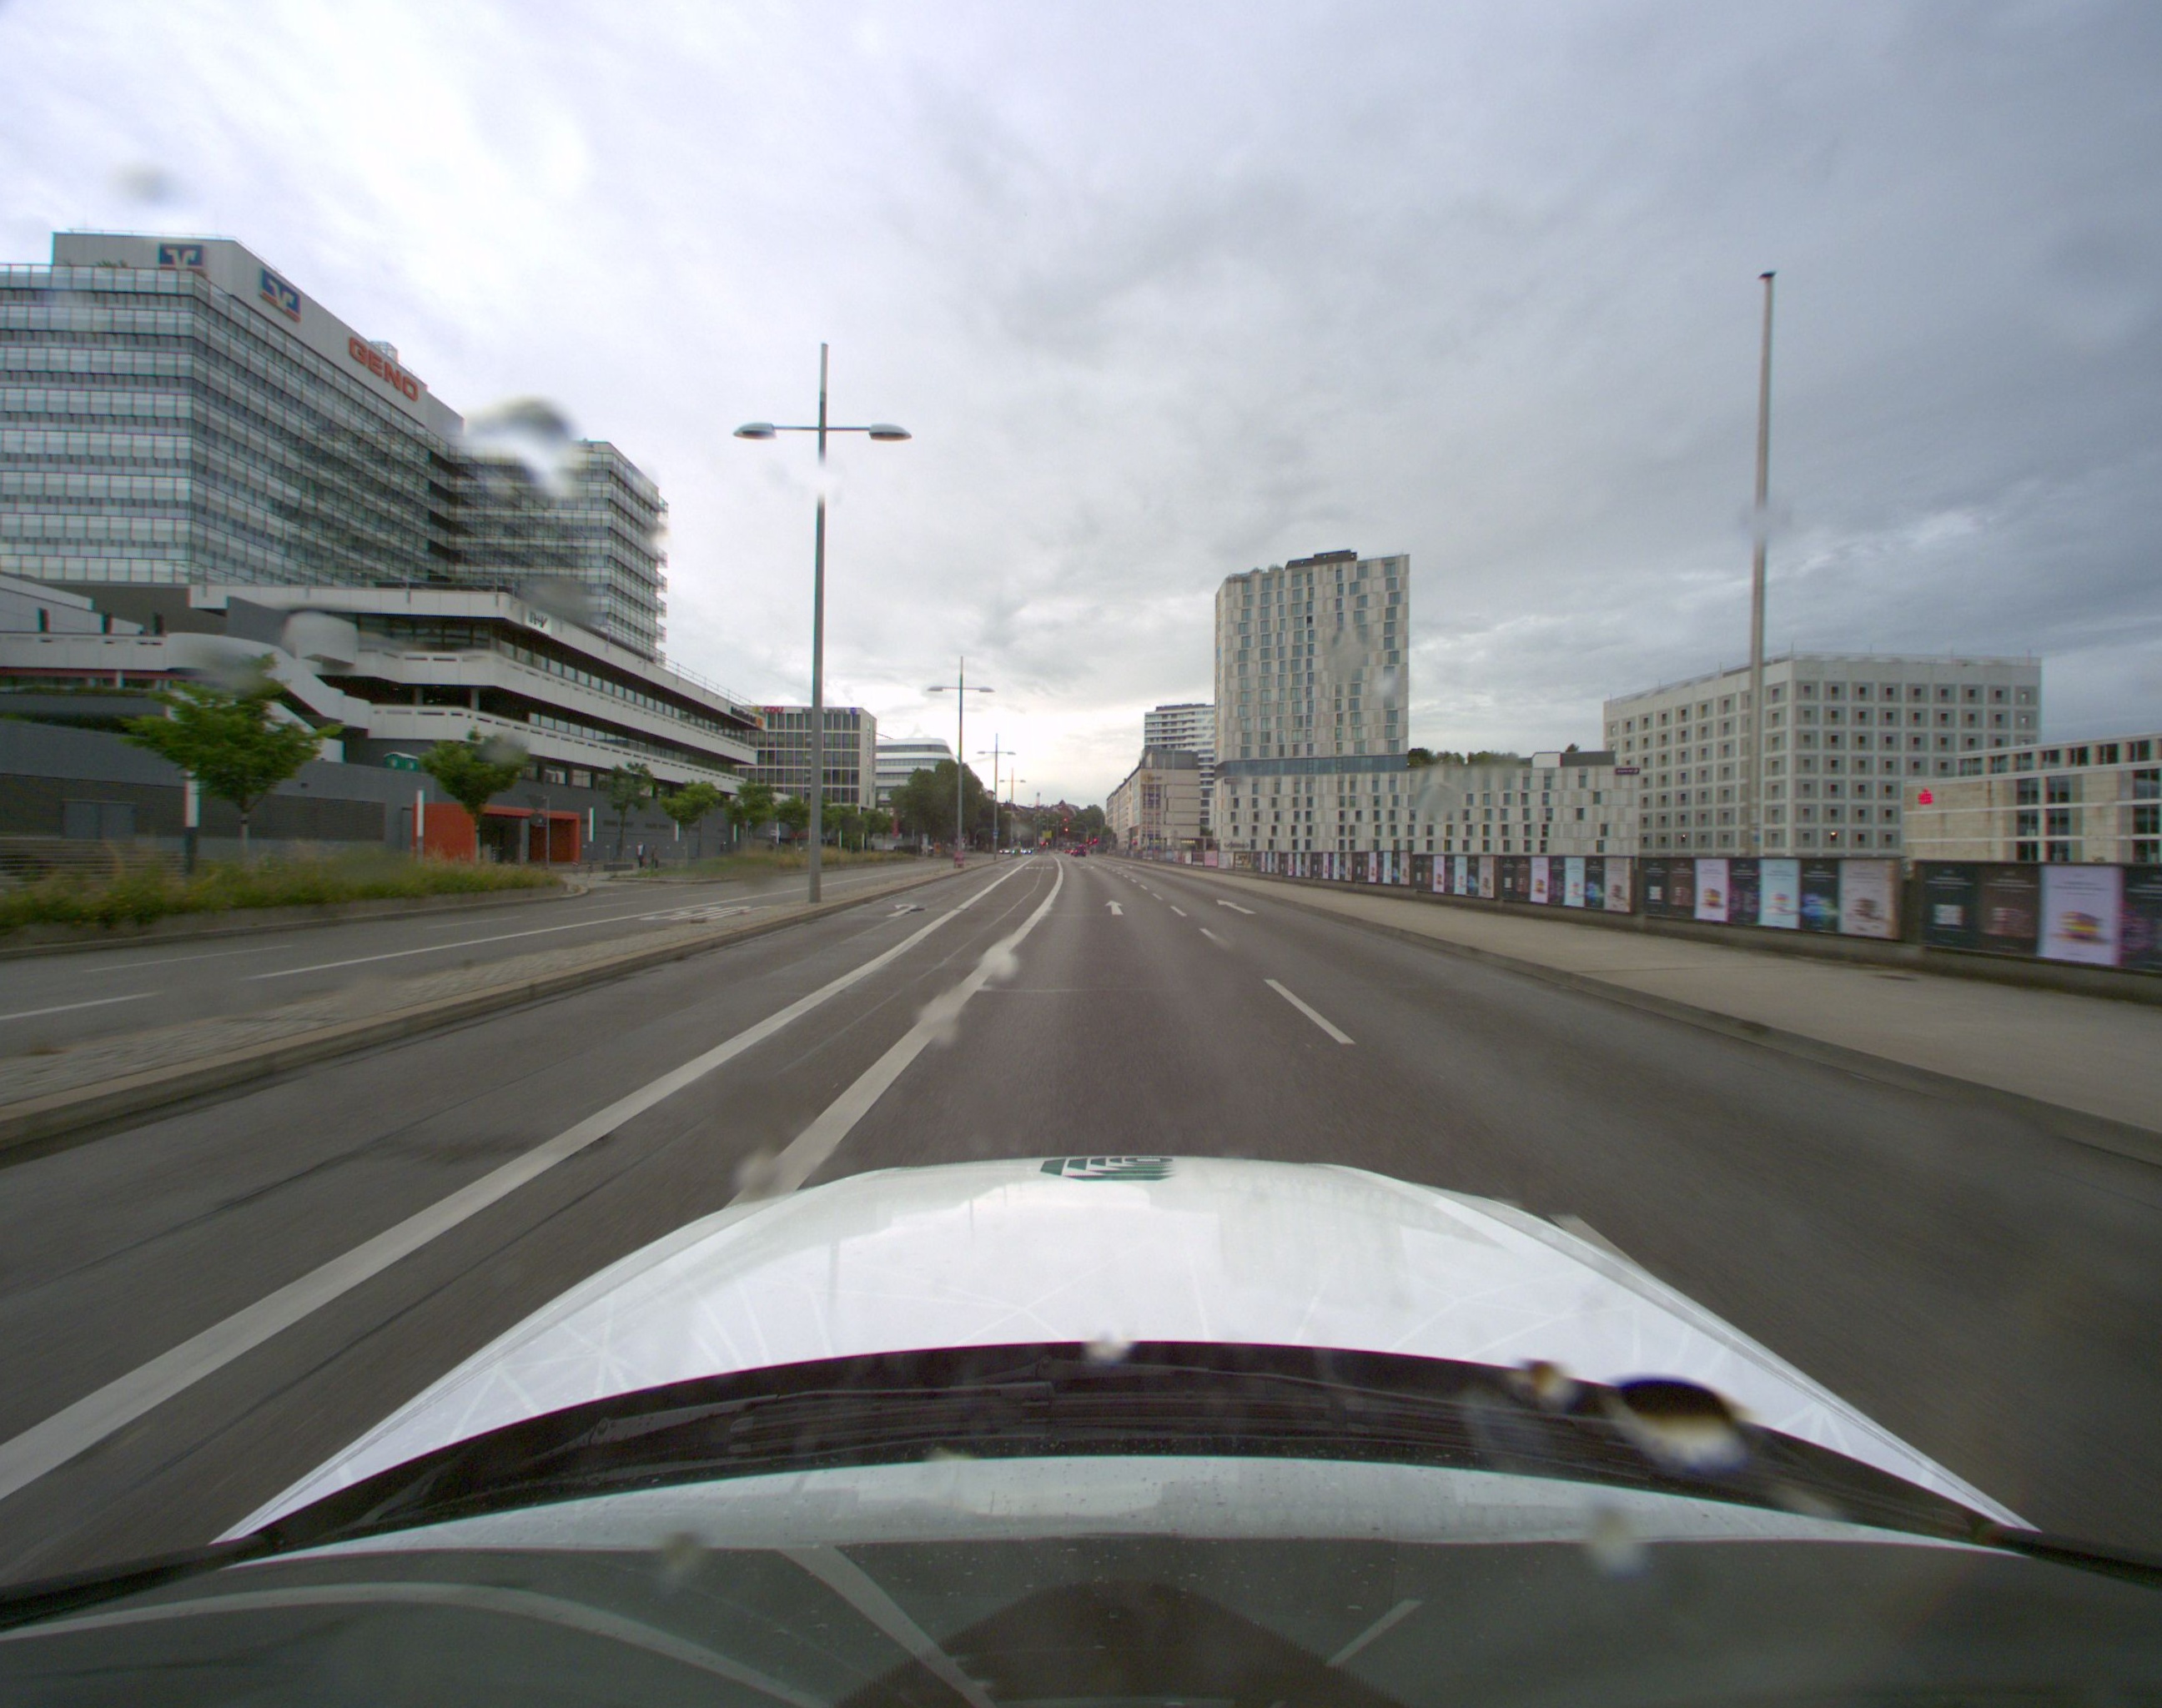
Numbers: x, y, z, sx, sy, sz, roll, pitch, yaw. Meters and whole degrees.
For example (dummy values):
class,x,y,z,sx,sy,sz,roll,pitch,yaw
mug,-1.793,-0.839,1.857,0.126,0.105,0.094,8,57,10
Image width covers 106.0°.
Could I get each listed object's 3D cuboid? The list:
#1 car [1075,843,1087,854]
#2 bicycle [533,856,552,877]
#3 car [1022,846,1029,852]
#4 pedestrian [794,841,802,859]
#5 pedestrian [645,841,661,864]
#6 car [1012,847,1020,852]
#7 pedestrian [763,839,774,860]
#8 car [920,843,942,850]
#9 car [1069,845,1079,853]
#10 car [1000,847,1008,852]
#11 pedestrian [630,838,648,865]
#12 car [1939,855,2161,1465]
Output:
class,x,y,z,sx,sy,sz,roll,pitch,yaw
car,-0.021,-0.965,144.547,2.028,1.882,5.038,-3,1,-2
bicycle,-22.539,0.502,34.068,0.612,0.857,1.639,0,-1,-35
car,-14.547,-1.250,214.780,1.739,1.444,3.392,-1,0,-2
pedestrian,-29.040,-0.383,83.650,0.628,1.808,0.628,-1,-1,-2
pedestrian,-27.110,-0.067,51.607,0.616,1.446,0.798,-1,-1,-1
car,-17.181,-1.313,215.408,1.739,1.257,3.537,0,1,-2
pedestrian,-27.403,-0.365,71.448,0.782,1.808,0.628,-1,-1,-2
car,-34.282,-1.752,186.173,4.470,1.631,1.902,-1,-1,13
car,-1.407,-1.005,169.226,1.738,1.531,3.806,-1,0,-6
car,-20.367,-1.097,214.899,1.739,1.328,4.222,-1,0,-2
pedestrian,-27.959,-0.147,51.539,0.616,1.658,0.798,-2,-1,-1
car,3.244,0.675,0.225,1.716,1.376,4.157,-1,0,2
